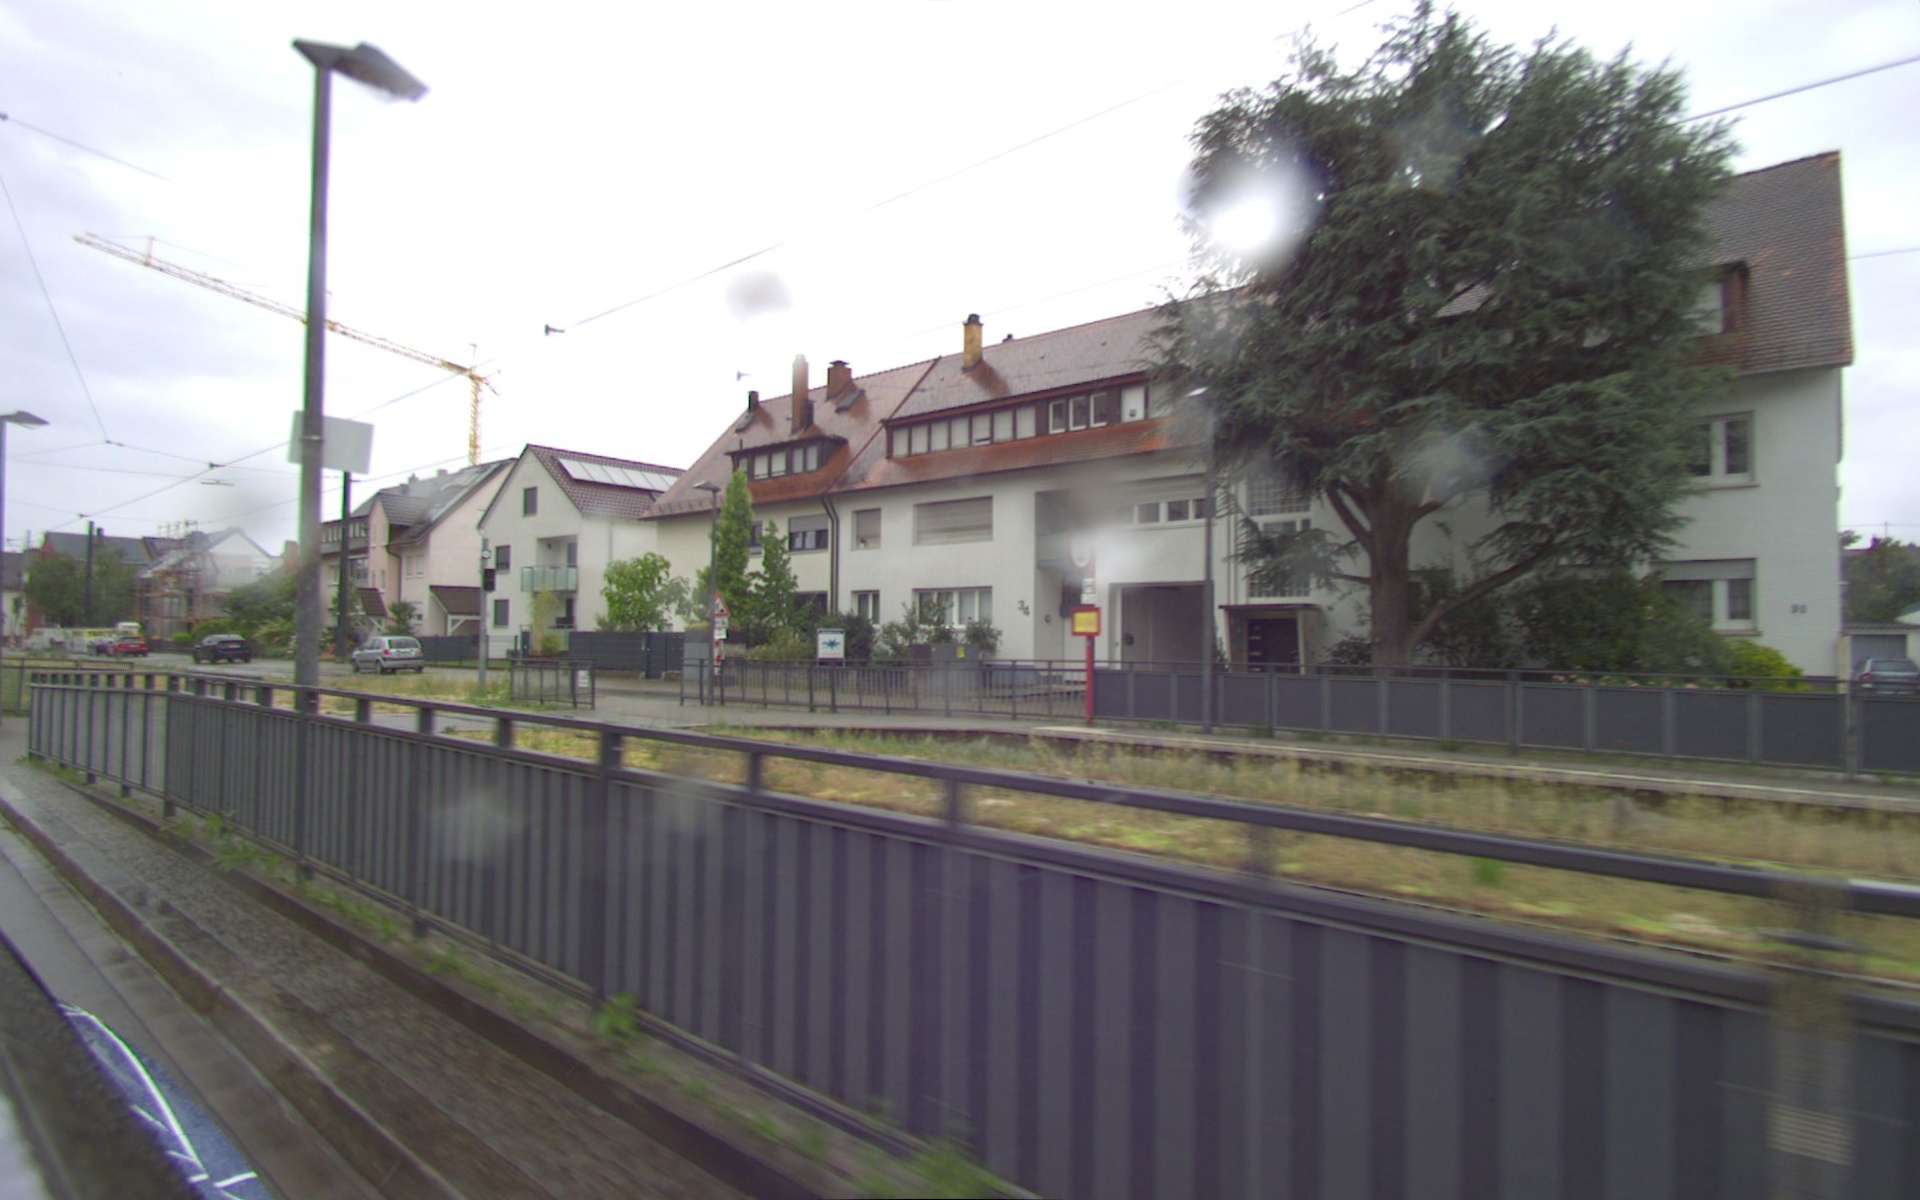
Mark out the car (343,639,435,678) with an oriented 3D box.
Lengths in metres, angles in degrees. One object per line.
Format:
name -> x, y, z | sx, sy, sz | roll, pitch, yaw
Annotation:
car -> -23.057, 2.310, 40.833 | 3.653, 1.424, 1.974 | -1, -2, 38

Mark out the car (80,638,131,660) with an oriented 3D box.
car -> -60.253, 3.445, 71.336 | 4.169, 1.420, 1.974 | -3, -3, 38

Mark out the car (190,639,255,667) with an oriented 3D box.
car -> -39.831, 2.833, 54.649 | 4.169, 1.438, 1.819 | -2, -3, 38

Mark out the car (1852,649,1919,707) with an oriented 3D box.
car -> 29.174, 2.381, 31.484 | 1.999, 1.586, 3.946 | -1, -2, 40

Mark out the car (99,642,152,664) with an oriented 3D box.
car -> -56.013, 3.525, 67.946 | 3.839, 1.383, 1.974 | -1, -2, 38
